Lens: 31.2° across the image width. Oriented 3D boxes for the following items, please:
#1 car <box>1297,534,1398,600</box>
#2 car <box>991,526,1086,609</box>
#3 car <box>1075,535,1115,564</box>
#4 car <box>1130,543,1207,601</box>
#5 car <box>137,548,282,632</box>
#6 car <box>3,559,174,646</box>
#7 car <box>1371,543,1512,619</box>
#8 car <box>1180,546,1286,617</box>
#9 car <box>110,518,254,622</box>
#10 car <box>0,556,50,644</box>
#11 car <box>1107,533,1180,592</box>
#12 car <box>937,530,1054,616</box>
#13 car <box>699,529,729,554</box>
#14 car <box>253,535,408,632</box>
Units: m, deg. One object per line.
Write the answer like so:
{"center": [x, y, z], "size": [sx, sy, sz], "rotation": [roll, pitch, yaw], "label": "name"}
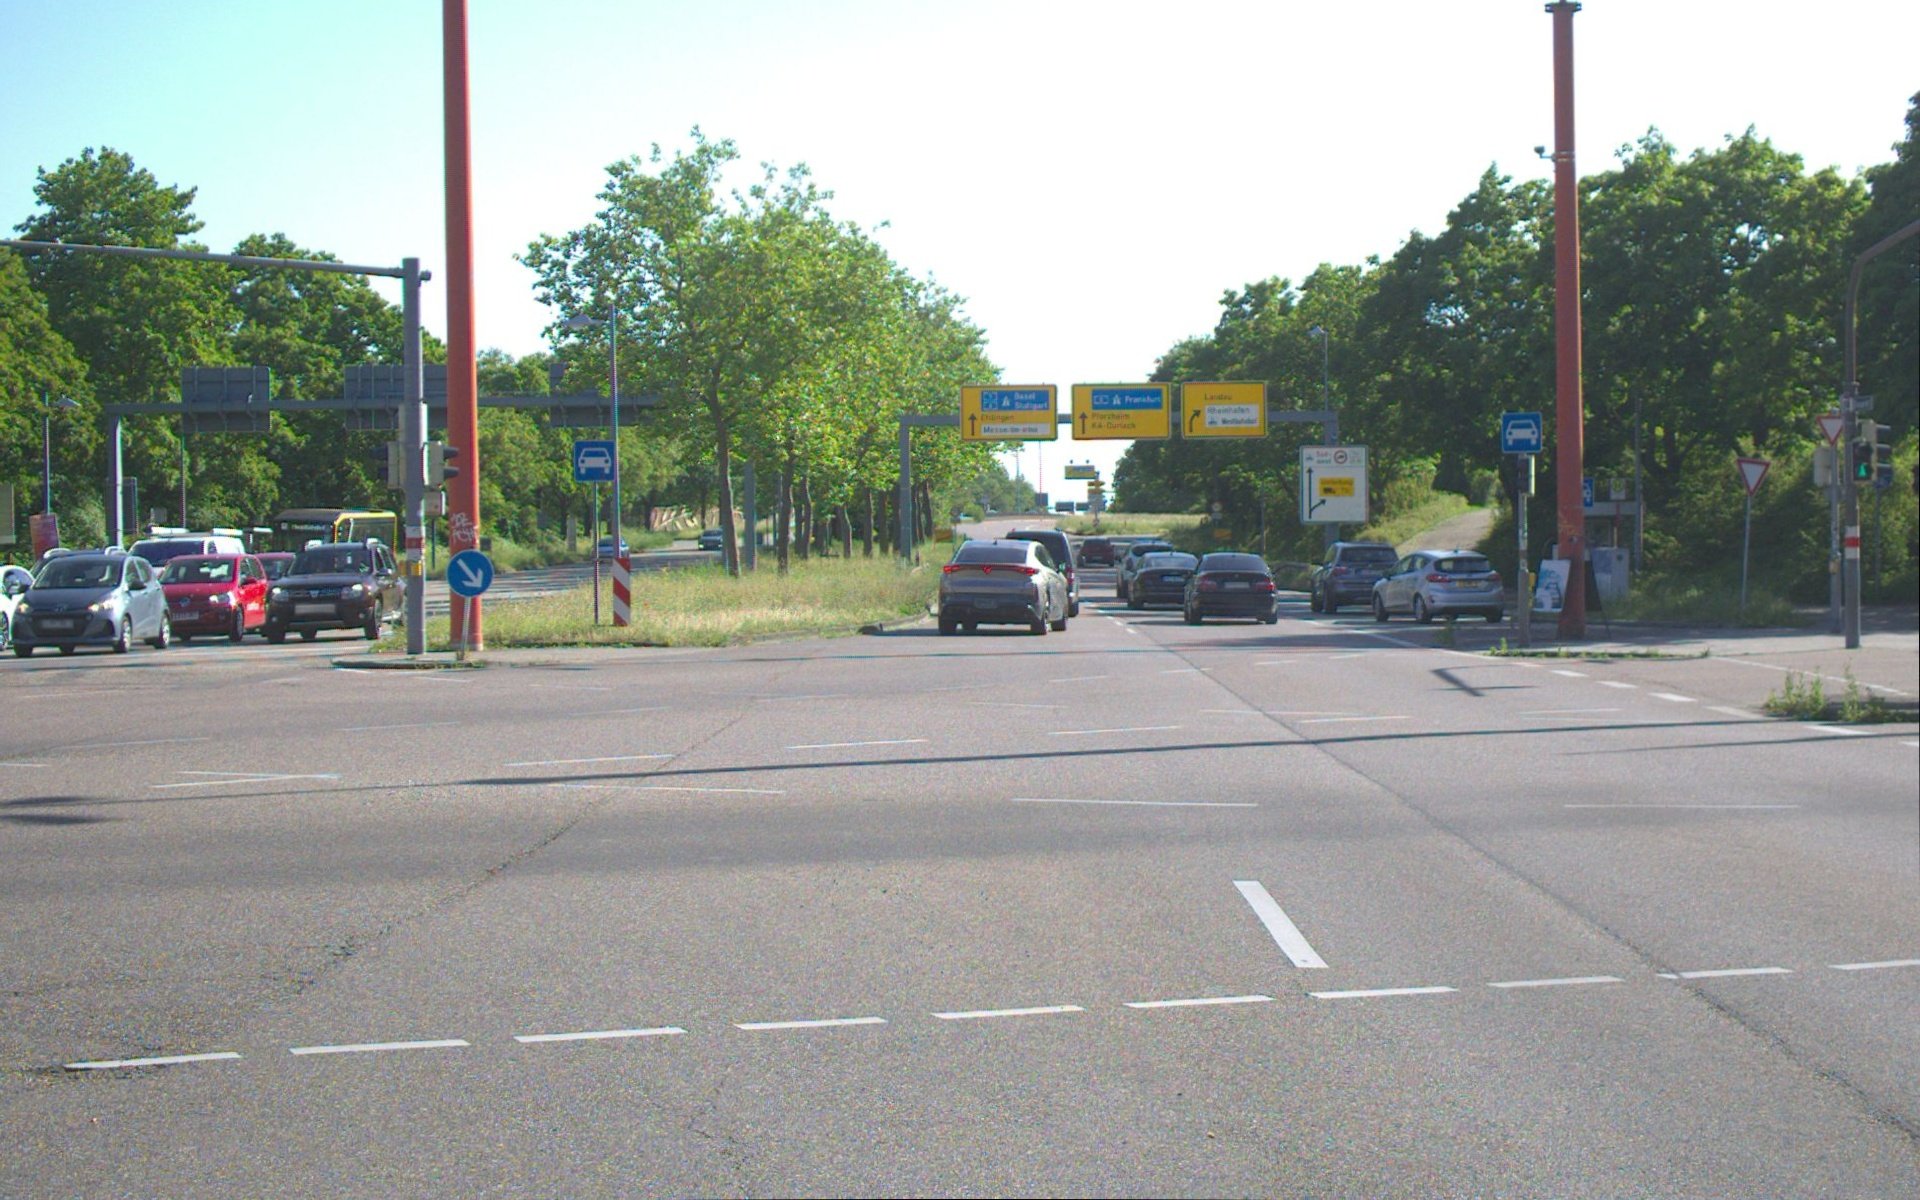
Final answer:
{"center": [9.029, -0.785, 80.333], "size": [1.779, 1.480, 4.330], "rotation": [-1, 1, -1], "label": "car"}
{"center": [1.645, -0.708, 73.238], "size": [1.845, 1.702, 4.307], "rotation": [-1, 1, -1], "label": "car"}
{"center": [6.656, -2.504, 169.532], "size": [1.680, 1.430, 4.065], "rotation": [-1, 1, -2], "label": "car"}
{"center": [5.012, -0.696, 83.199], "size": [1.760, 1.345, 4.363], "rotation": [-1, 1, 2], "label": "car"}
{"center": [-12.693, -0.191, 58.303], "size": [1.739, 1.357, 3.613], "rotation": [-1, 1, -1], "label": "car"}
{"center": [-13.115, 0.015, 51.913], "size": [1.739, 1.239, 3.613], "rotation": [-1, 1, -1], "label": "car"}
{"center": [9.658, -0.409, 69.207], "size": [1.678, 1.462, 3.996], "rotation": [-1, 1, -10], "label": "car"}
{"center": [5.452, -0.394, 68.274], "size": [1.760, 1.345, 4.361], "rotation": [0, 1, 9], "label": "car"}
{"center": [-16.044, -0.607, 71.146], "size": [1.893, 2.019, 5.223], "rotation": [1, 0, -1], "label": "car"}
{"center": [-16.423, -0.017, 57.058], "size": [1.739, 1.406, 3.613], "rotation": [-1, 1, -1], "label": "car"}
{"center": [5.218, -1.092, 98.215], "size": [1.822, 1.630, 4.253], "rotation": [-1, 1, 0], "label": "car"}
{"center": [0.645, -0.485, 58.954], "size": [1.830, 1.417, 4.437], "rotation": [-1, 1, 3], "label": "car"}
{"center": [-16.840, -4.024, 235.409], "size": [1.841, 1.661, 4.000], "rotation": [1, 1, -1], "label": "car"}
{"center": [-10.194, -0.290, 55.925], "size": [1.819, 1.503, 4.000], "rotation": [-1, 1, -1], "label": "car"}
